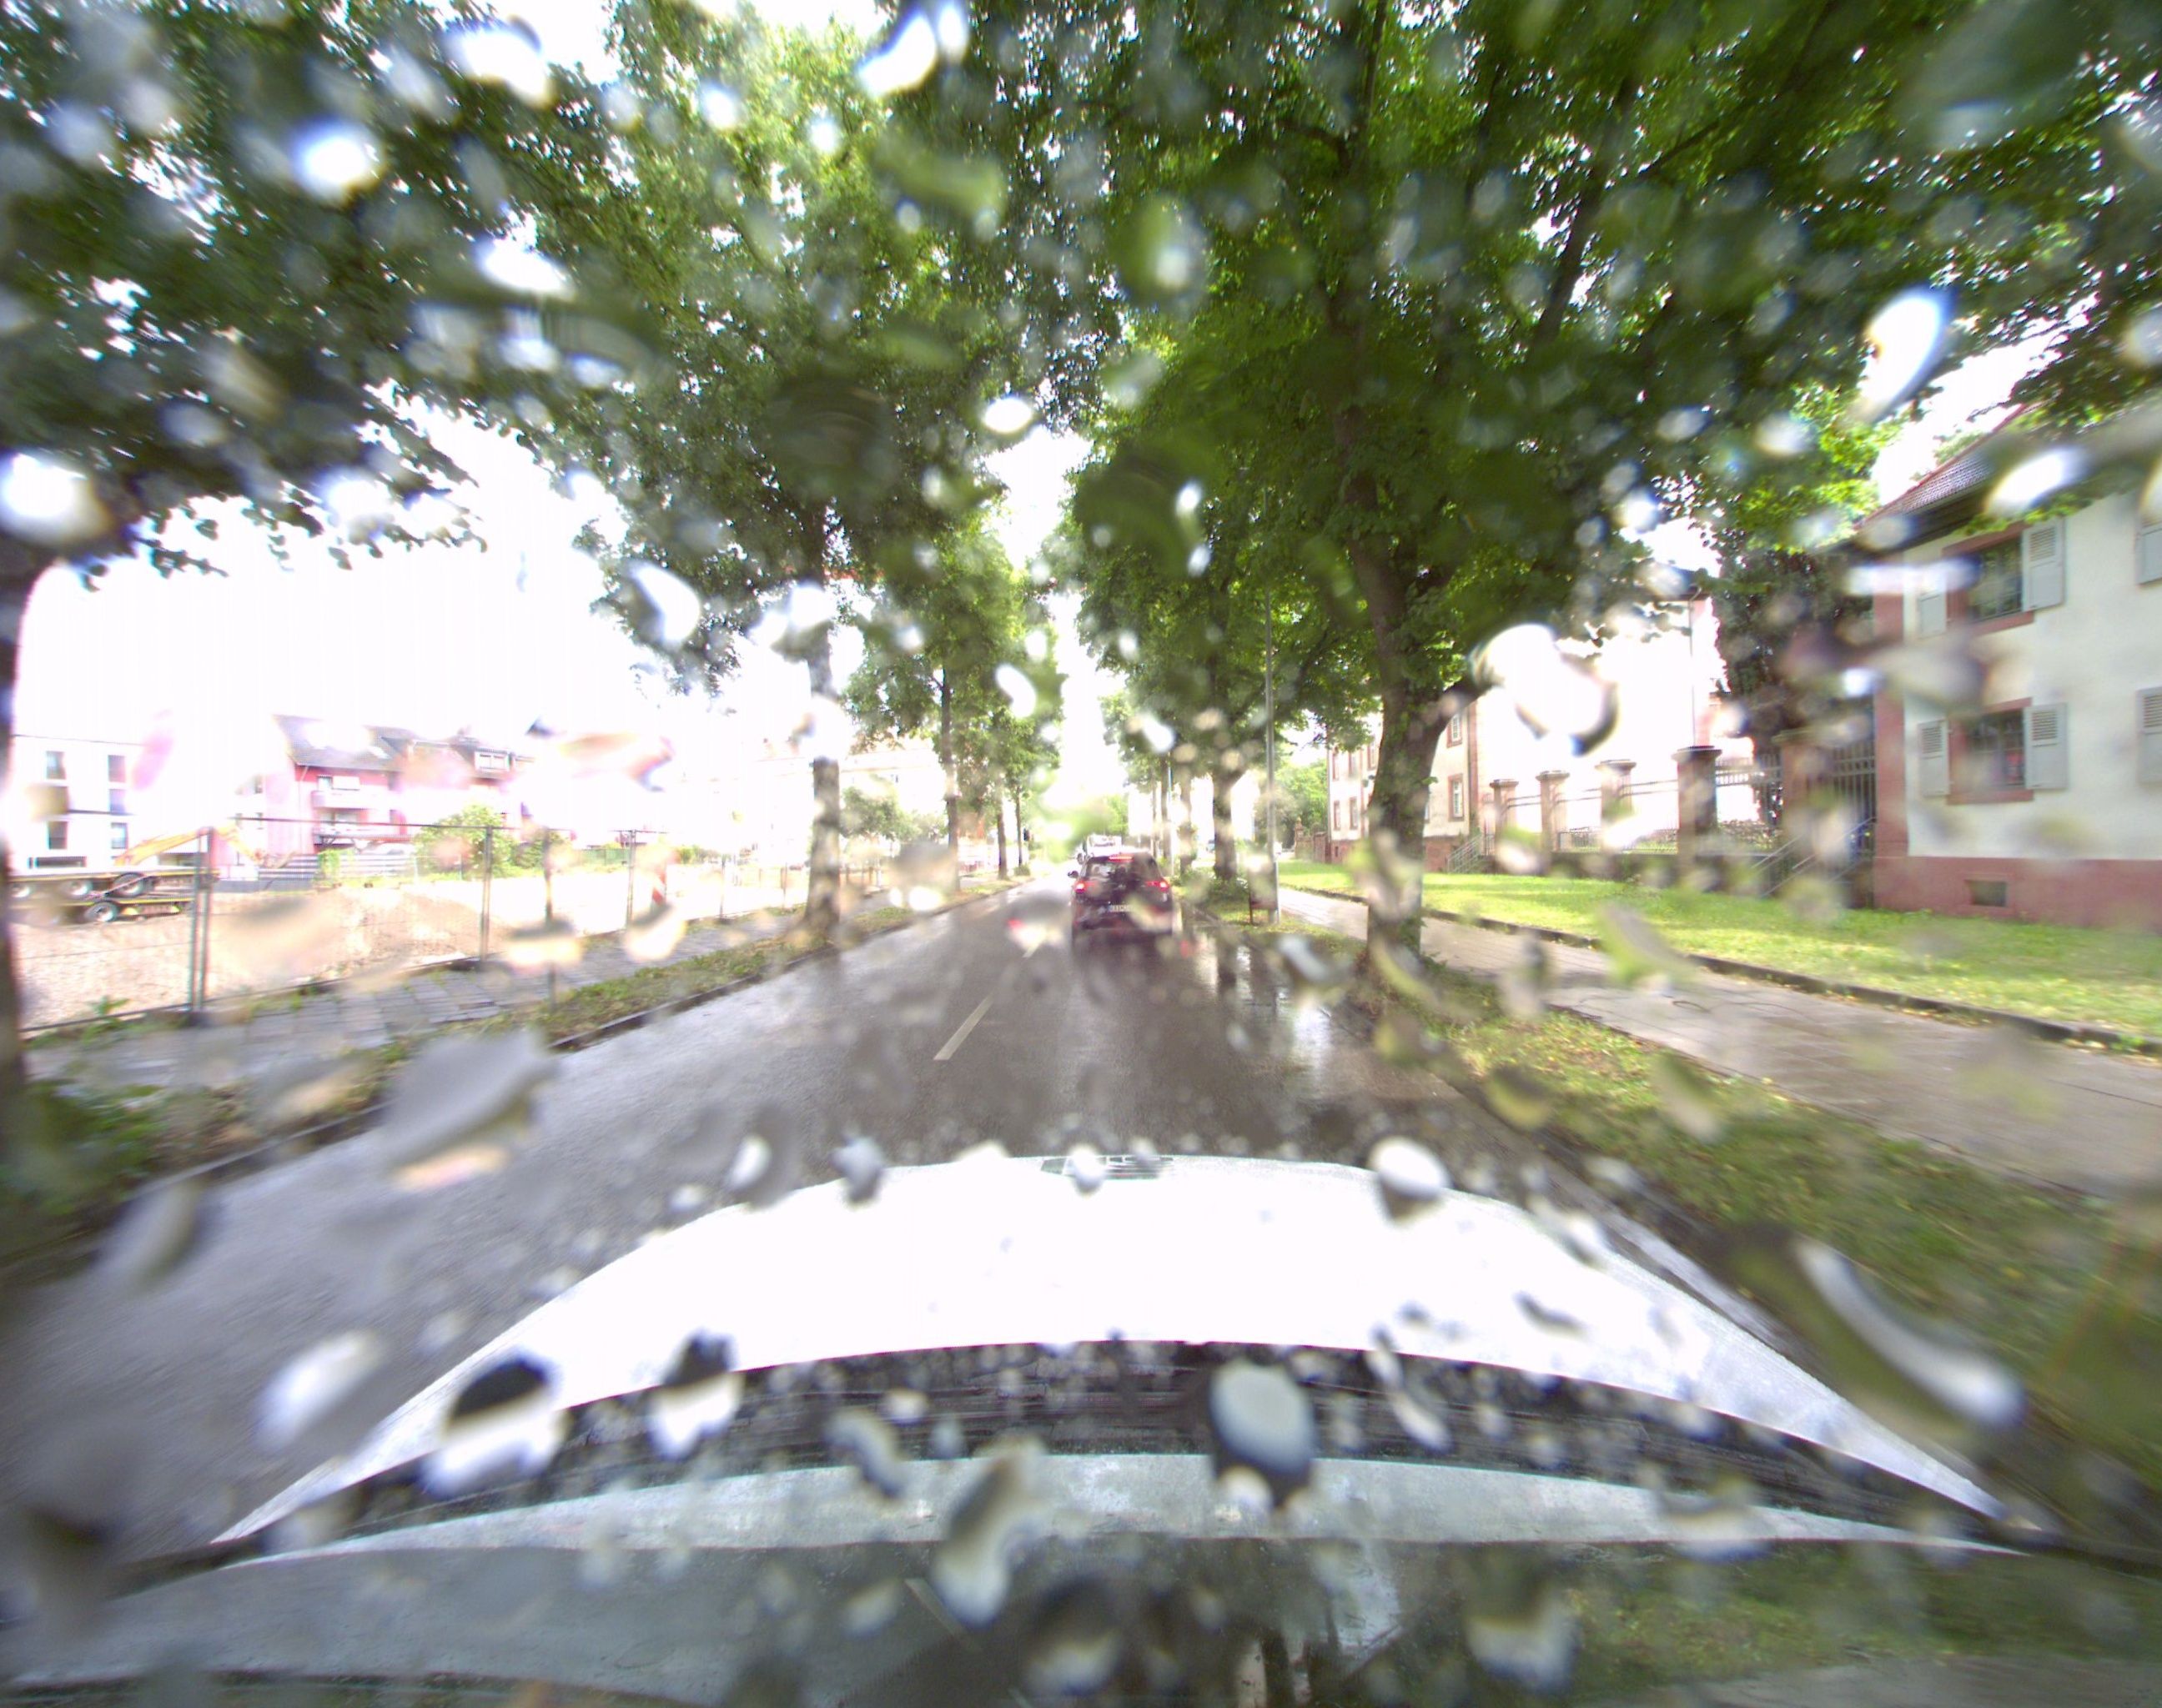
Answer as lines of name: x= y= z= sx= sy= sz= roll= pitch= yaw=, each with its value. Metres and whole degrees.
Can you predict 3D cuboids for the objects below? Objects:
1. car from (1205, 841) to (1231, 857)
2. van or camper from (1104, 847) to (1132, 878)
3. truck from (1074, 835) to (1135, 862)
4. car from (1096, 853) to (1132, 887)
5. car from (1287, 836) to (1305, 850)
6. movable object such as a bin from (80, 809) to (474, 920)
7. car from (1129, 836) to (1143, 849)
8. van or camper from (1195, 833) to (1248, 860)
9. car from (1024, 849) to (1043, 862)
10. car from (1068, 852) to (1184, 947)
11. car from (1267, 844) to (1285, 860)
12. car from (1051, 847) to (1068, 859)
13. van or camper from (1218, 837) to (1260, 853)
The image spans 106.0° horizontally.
car: x=18.684 y=-0.688 z=110.883 sx=3.385 sy=1.781 sz=1.765 roll=-5 pitch=0 yaw=11
van or camper: x=2.570 y=0.545 z=55.743 sx=1.811 sy=1.947 sz=4.199 roll=-1 pitch=1 yaw=4
truck: x=2.355 y=-0.626 z=85.936 sx=2.821 sy=2.656 sz=8.167 roll=-2 pitch=1 yaw=-27
car: x=1.869 y=0.849 z=45.562 sx=1.671 sy=1.708 sz=3.916 roll=-4 pitch=0 yaw=5
car: x=31.141 y=-1.566 z=117.866 sx=1.857 sy=1.857 sz=3.817 roll=-5 pitch=0 yaw=6
movable object such as a bin: x=-51.134 y=0.368 z=53.268 sx=6.805 sy=6.043 sz=16.846 roll=-1 pitch=1 yaw=26
car: x=8.700 y=-1.841 z=129.574 sx=1.985 sy=2.013 sz=4.003 roll=-2 pitch=0 yaw=2
van or camper: x=14.407 y=-0.786 z=83.659 sx=5.015 sy=2.595 sz=2.168 roll=-2 pitch=0 yaw=1
car: x=-6.313 y=0.159 z=108.389 sx=1.582 sy=1.512 sz=3.741 roll=-5 pitch=0 yaw=8
car: x=0.816 y=0.750 z=15.531 sx=1.887 sy=1.522 sz=4.002 roll=-1 pitch=0 yaw=2
car: x=23.172 y=-0.283 z=96.859 sx=1.732 sy=1.684 sz=3.880 roll=-5 pitch=0 yaw=8
car: x=-2.907 y=-0.165 z=110.306 sx=1.582 sy=1.512 sz=3.741 roll=-5 pitch=0 yaw=8
van or camper: x=19.555 y=-1.138 z=101.094 sx=4.855 sy=1.925 sz=2.133 roll=-1 pitch=1 yaw=2
